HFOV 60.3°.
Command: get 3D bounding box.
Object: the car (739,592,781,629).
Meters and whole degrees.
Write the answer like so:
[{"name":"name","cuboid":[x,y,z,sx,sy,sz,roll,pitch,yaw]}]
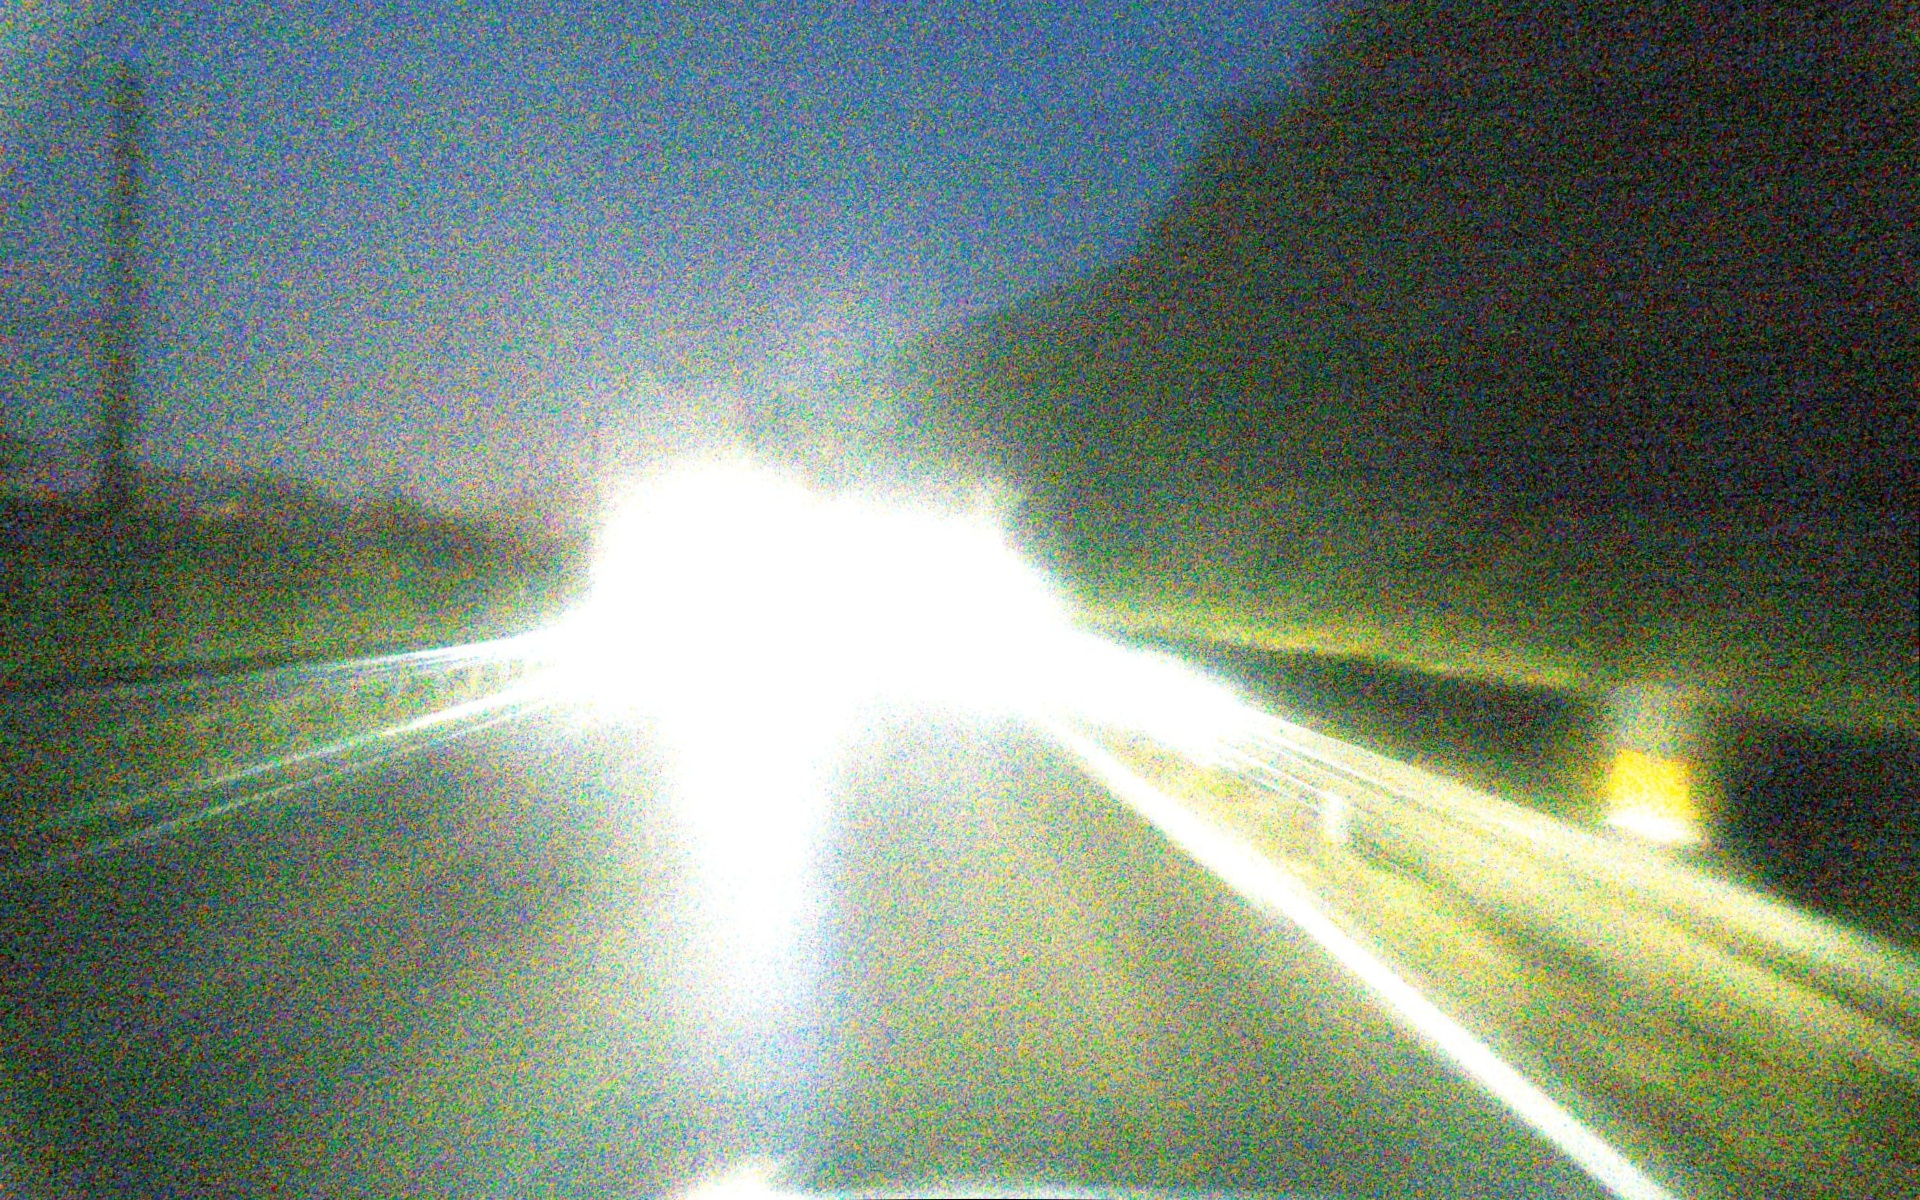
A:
[{"name":"car","cuboid":[-8.410,0.430,69.724,1.669,1.532,3.678,1,0,-6]}]
